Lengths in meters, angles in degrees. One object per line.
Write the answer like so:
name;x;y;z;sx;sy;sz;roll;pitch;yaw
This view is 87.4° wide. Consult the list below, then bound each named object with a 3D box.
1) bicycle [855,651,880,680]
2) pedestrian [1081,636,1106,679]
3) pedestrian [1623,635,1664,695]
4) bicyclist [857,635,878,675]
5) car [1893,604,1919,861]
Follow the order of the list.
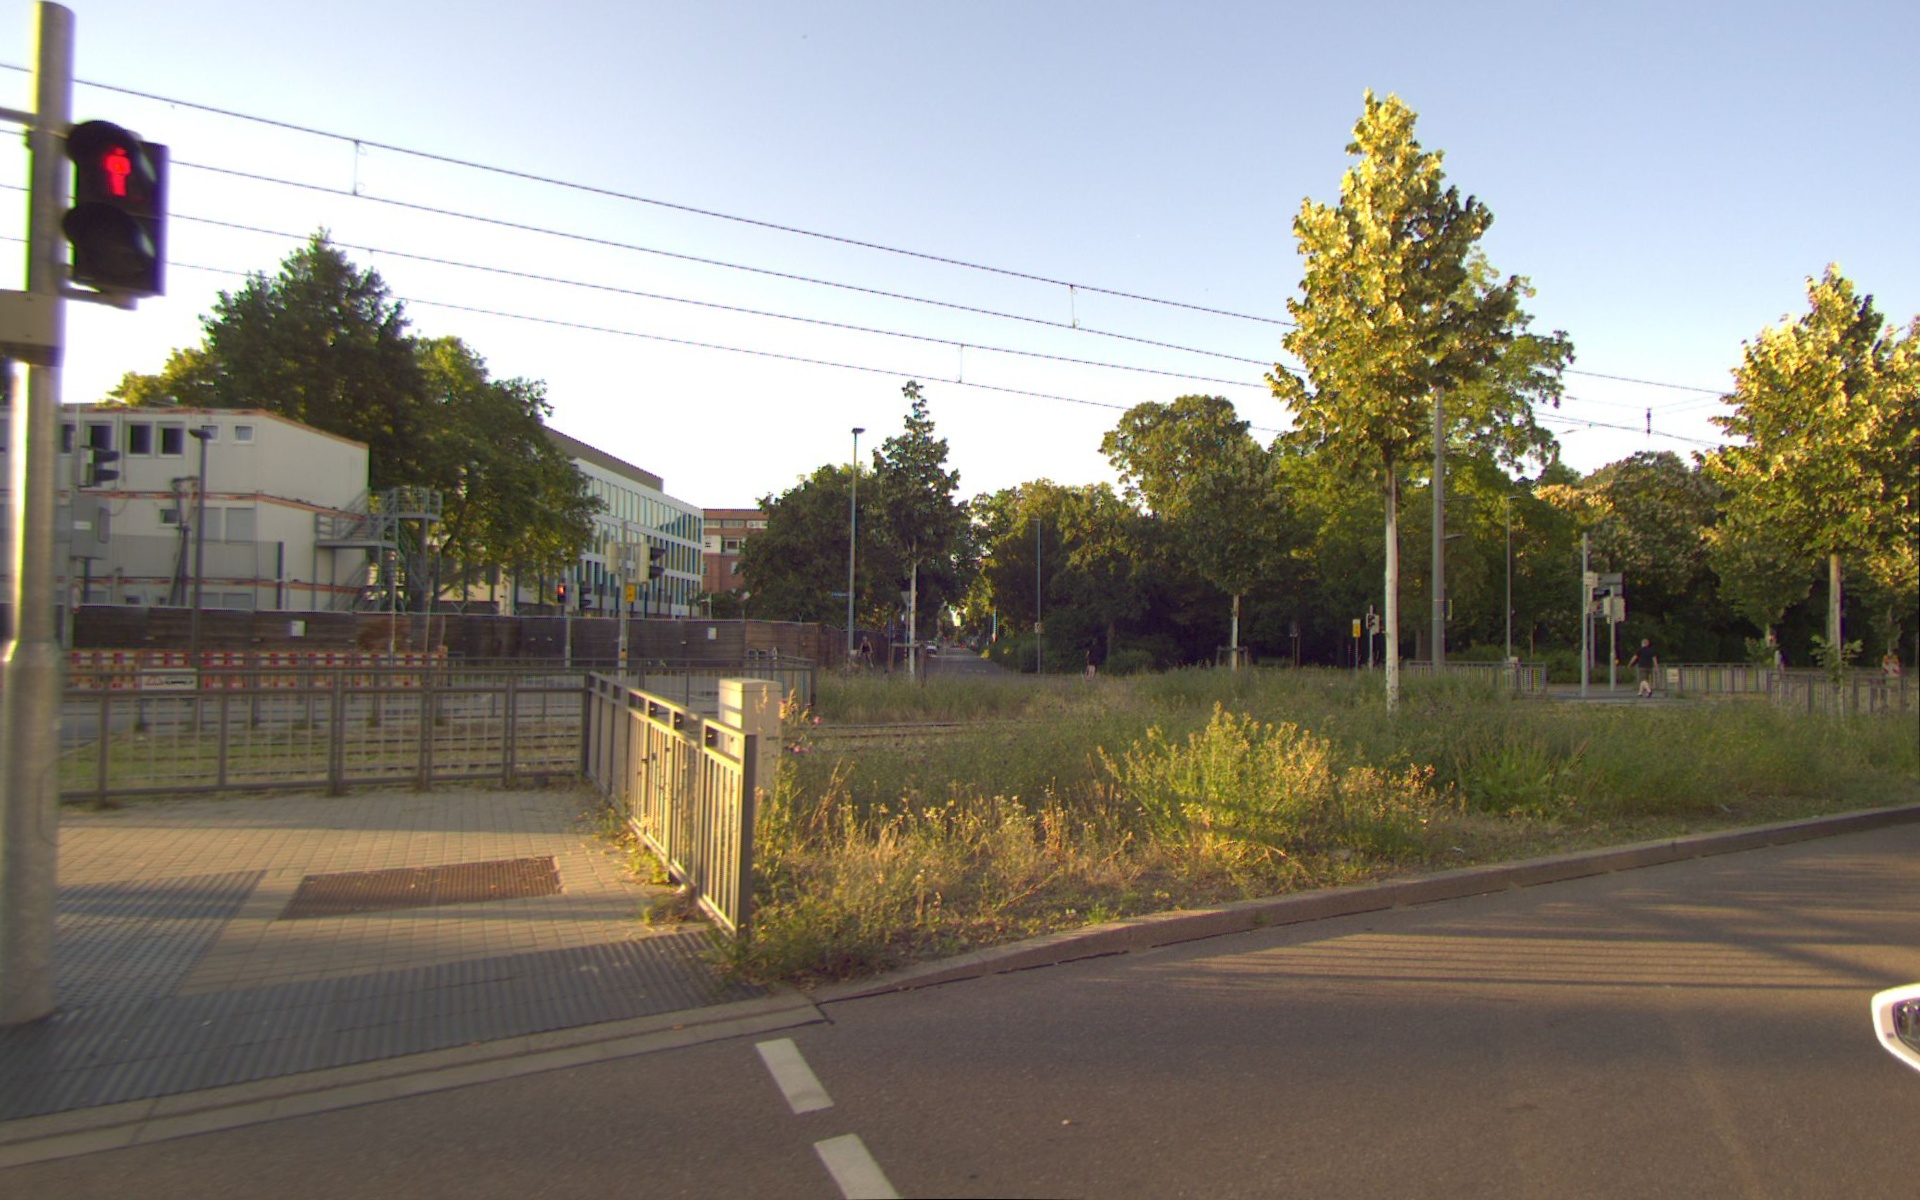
bicycle;-4.039;2.847;43.996;0.702;1.148;1.899;2;0;5
pedestrian;6.246;2.687;46.998;0.916;1.911;1.038;2;0;-4
pedestrian;19.515;1.851;28.683;0.664;1.629;0.671;-2;1;-5
bicyclist;-4.037;2.390;43.871;0.702;1.642;0.945;2;0;5
car;8.543;0.925;6.957;4.230;1.694;1.826;2;-1;-29
